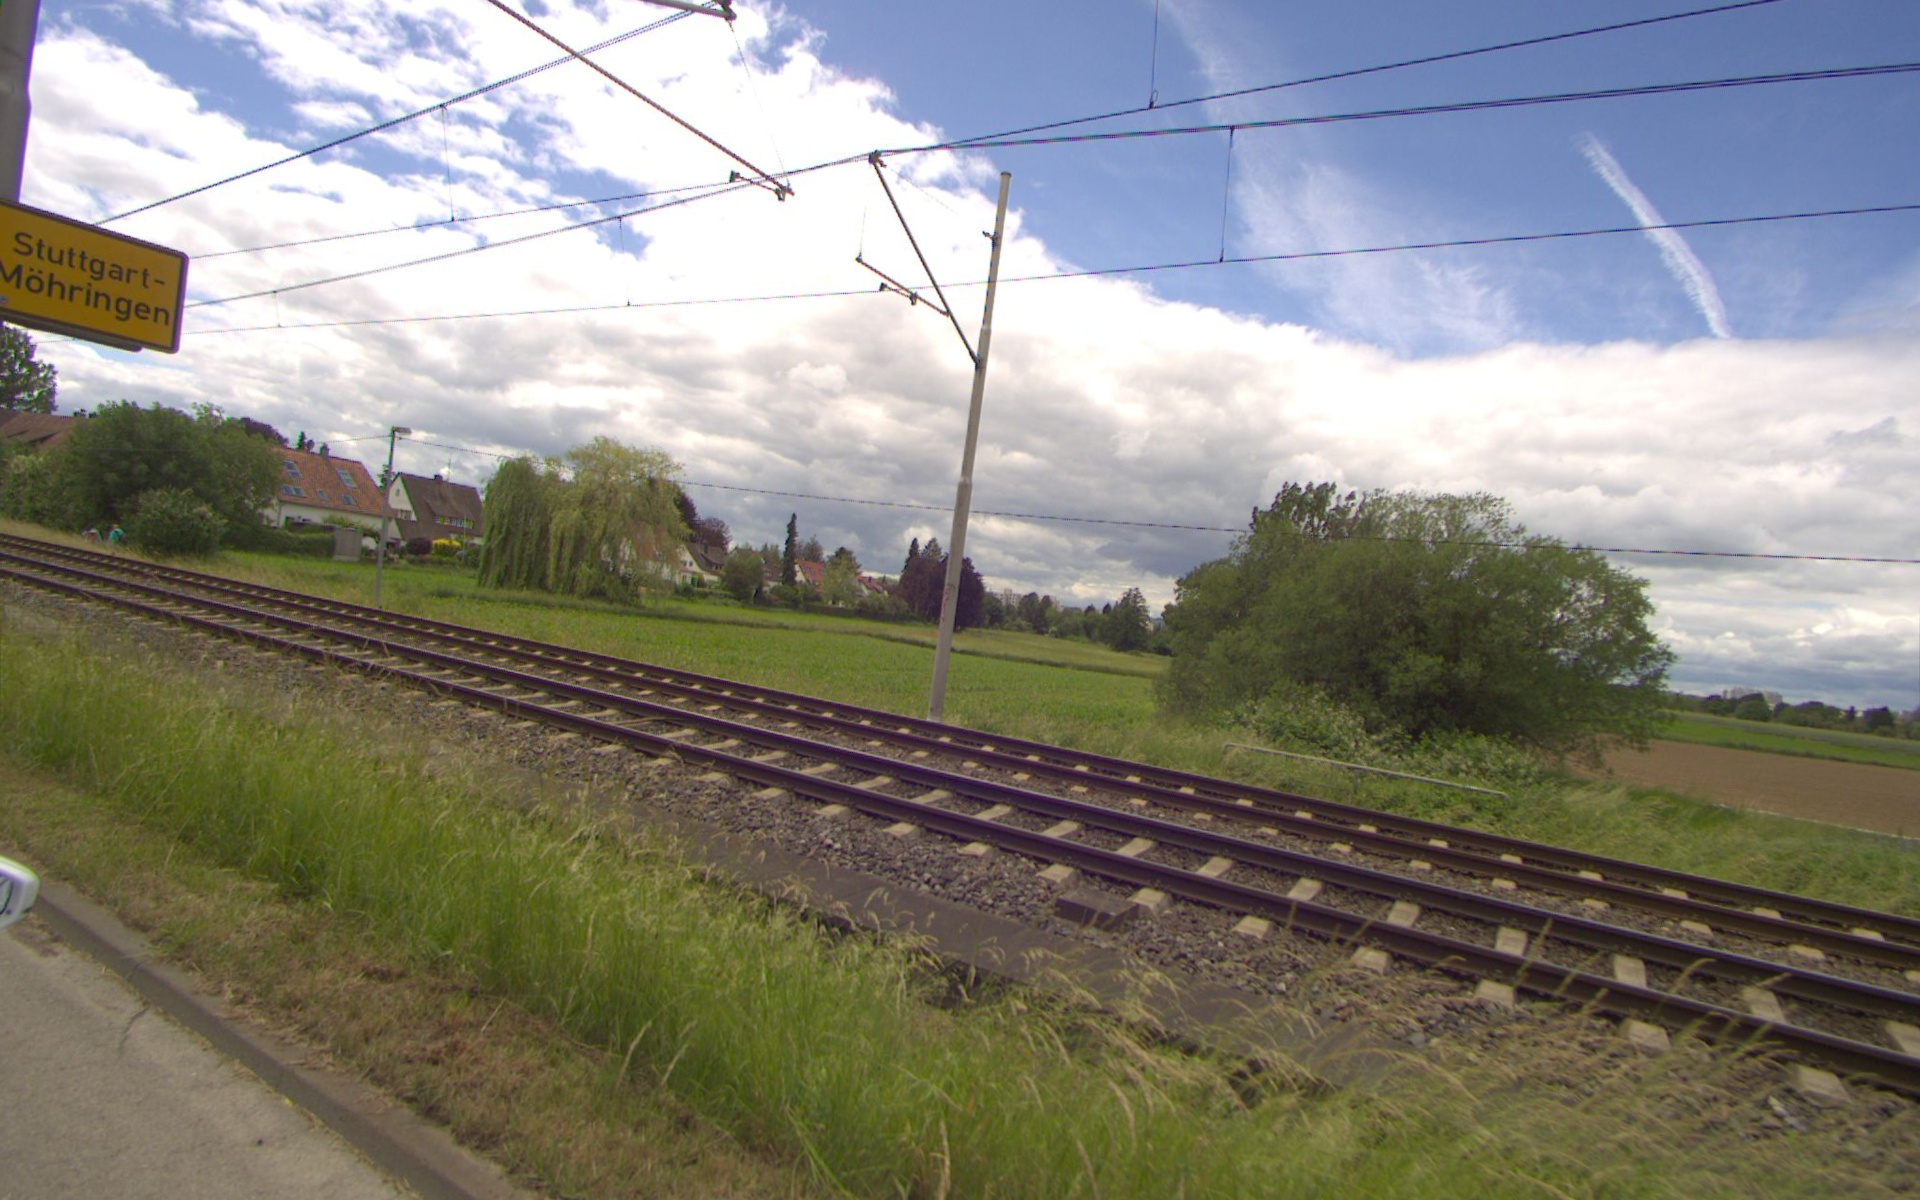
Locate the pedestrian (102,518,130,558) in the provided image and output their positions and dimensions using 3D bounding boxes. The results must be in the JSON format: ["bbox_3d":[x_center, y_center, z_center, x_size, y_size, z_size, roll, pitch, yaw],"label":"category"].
[{"bbox_3d":[-37.333,-2.748,44.518,0.574,1.640,0.618,7,-2,32],"label":"pedestrian"}]

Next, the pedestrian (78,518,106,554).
[{"bbox_3d":[-37.738,-2.779,43.725,0.655,1.447,0.599,7,-2,32],"label":"pedestrian"}]
